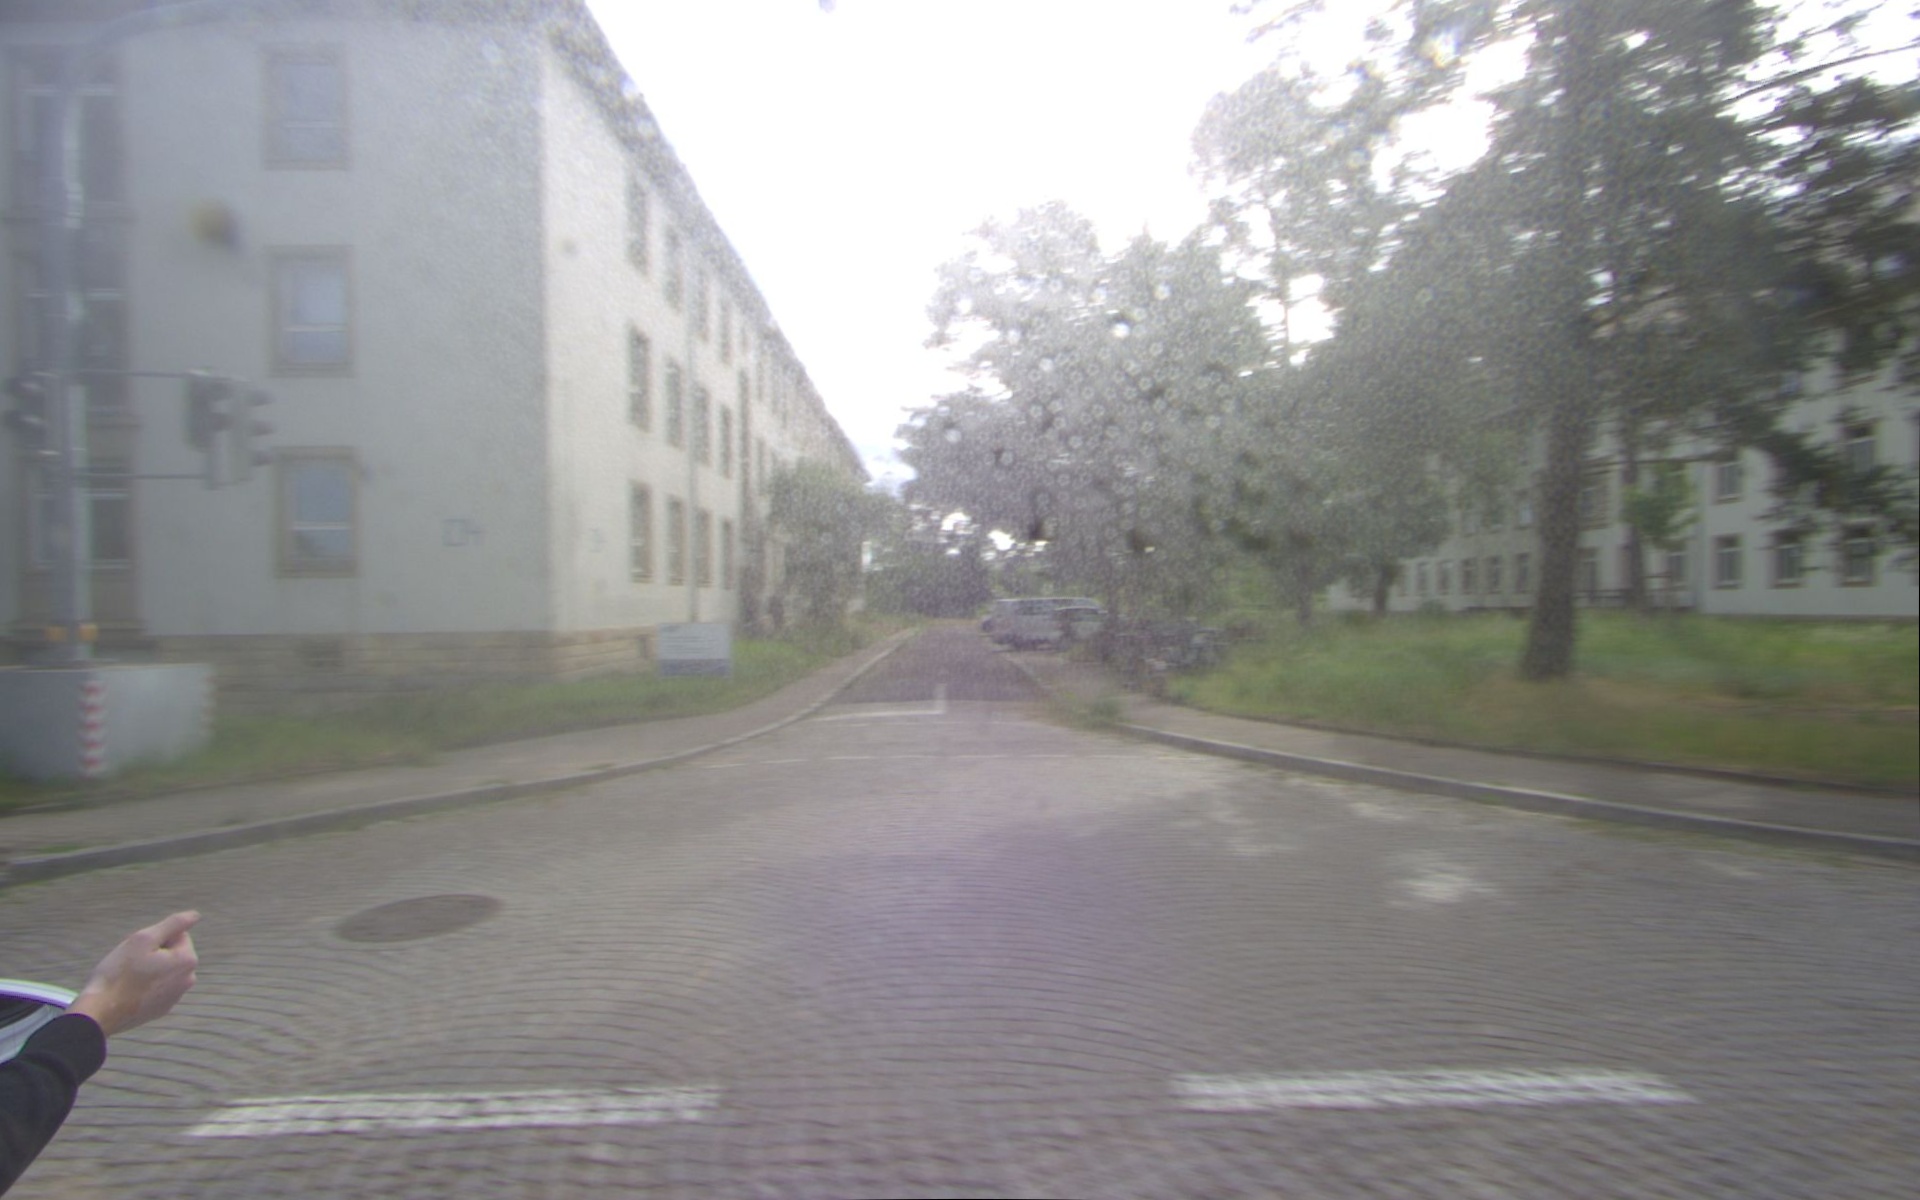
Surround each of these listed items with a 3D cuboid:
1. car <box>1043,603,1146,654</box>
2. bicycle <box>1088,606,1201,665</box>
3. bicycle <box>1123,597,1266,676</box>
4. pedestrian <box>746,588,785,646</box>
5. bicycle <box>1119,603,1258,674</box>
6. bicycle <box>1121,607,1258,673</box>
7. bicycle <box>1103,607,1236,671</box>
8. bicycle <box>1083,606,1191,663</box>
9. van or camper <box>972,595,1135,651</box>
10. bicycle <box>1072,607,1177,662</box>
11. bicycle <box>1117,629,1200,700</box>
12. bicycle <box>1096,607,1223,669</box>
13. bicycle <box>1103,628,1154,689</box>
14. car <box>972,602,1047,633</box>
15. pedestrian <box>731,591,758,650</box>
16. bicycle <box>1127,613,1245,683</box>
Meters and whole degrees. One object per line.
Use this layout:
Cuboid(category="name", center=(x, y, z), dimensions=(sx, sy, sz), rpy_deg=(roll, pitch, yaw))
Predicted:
Cuboid(category="car", center=(4.541, 0.956, 34.206), dimensions=(3.172, 1.642, 1.938), rpy_deg=(1, 0, -2))
Cuboid(category="bicycle", center=(4.431, 0.847, 24.167), dimensions=(2.526, 1.390, 0.950), rpy_deg=(0, 0, -2))
Cuboid(category="bicycle", center=(4.856, 0.739, 20.849), dimensions=(2.757, 1.604, 0.950), rpy_deg=(0, 0, -1))
Cuboid(category="pedestrian", center=(-6.611, 0.571, 34.091), dimensions=(1.175, 1.894, 1.549), rpy_deg=(1, 0, -7))
Cuboid(category="bicycle", center=(4.529, 0.749, 19.976), dimensions=(2.576, 1.385, 0.874), rpy_deg=(0, 0, -1))
Cuboid(category="bicycle", center=(4.967, 0.851, 21.782), dimensions=(2.757, 1.390, 0.950), rpy_deg=(0, 0, -1))
Cuboid(category="bicycle", center=(4.636, 0.852, 22.313), dimensions=(2.757, 1.390, 0.950), rpy_deg=(0, 0, -1))
Cuboid(category="bicycle", center=(4.404, 0.859, 25.007), dimensions=(2.526, 1.390, 0.950), rpy_deg=(0, 0, -2))
Cuboid(category="van or camper", center=(3.449, 0.815, 37.443), dimensions=(5.654, 1.983, 2.235), rpy_deg=(0, 0, -13))
Cuboid(category="bicycle", center=(4.228, 0.868, 25.843), dimensions=(2.526, 1.390, 0.950), rpy_deg=(0, 0, -2))
Cuboid(category="bicycle", center=(3.120, 0.996, 15.974), dimensions=(0.886, 1.009, 1.978), rpy_deg=(0, 0, -2))
Cuboid(category="bicycle", center=(4.592, 0.864, 23.206), dimensions=(2.757, 1.390, 0.950), rpy_deg=(0, 0, -1))
Cuboid(category="bicycle", center=(3.011, 1.025, 18.065), dimensions=(0.715, 1.009, 1.978), rpy_deg=(0, 0, 4))
Cuboid(category="car", center=(2.680, 0.953, 54.430), dimensions=(3.922, 1.621, 1.703), rpy_deg=(0, 0, -3))
Cuboid(category="pedestrian", center=(-7.409, 0.701, 34.449), dimensions=(0.852, 1.957, 0.836), rpy_deg=(2, 0, -12))
Cuboid(category="bicycle", center=(4.353, 0.915, 19.364), dimensions=(2.078, 1.324, 0.874), rpy_deg=(0, 0, -1))
